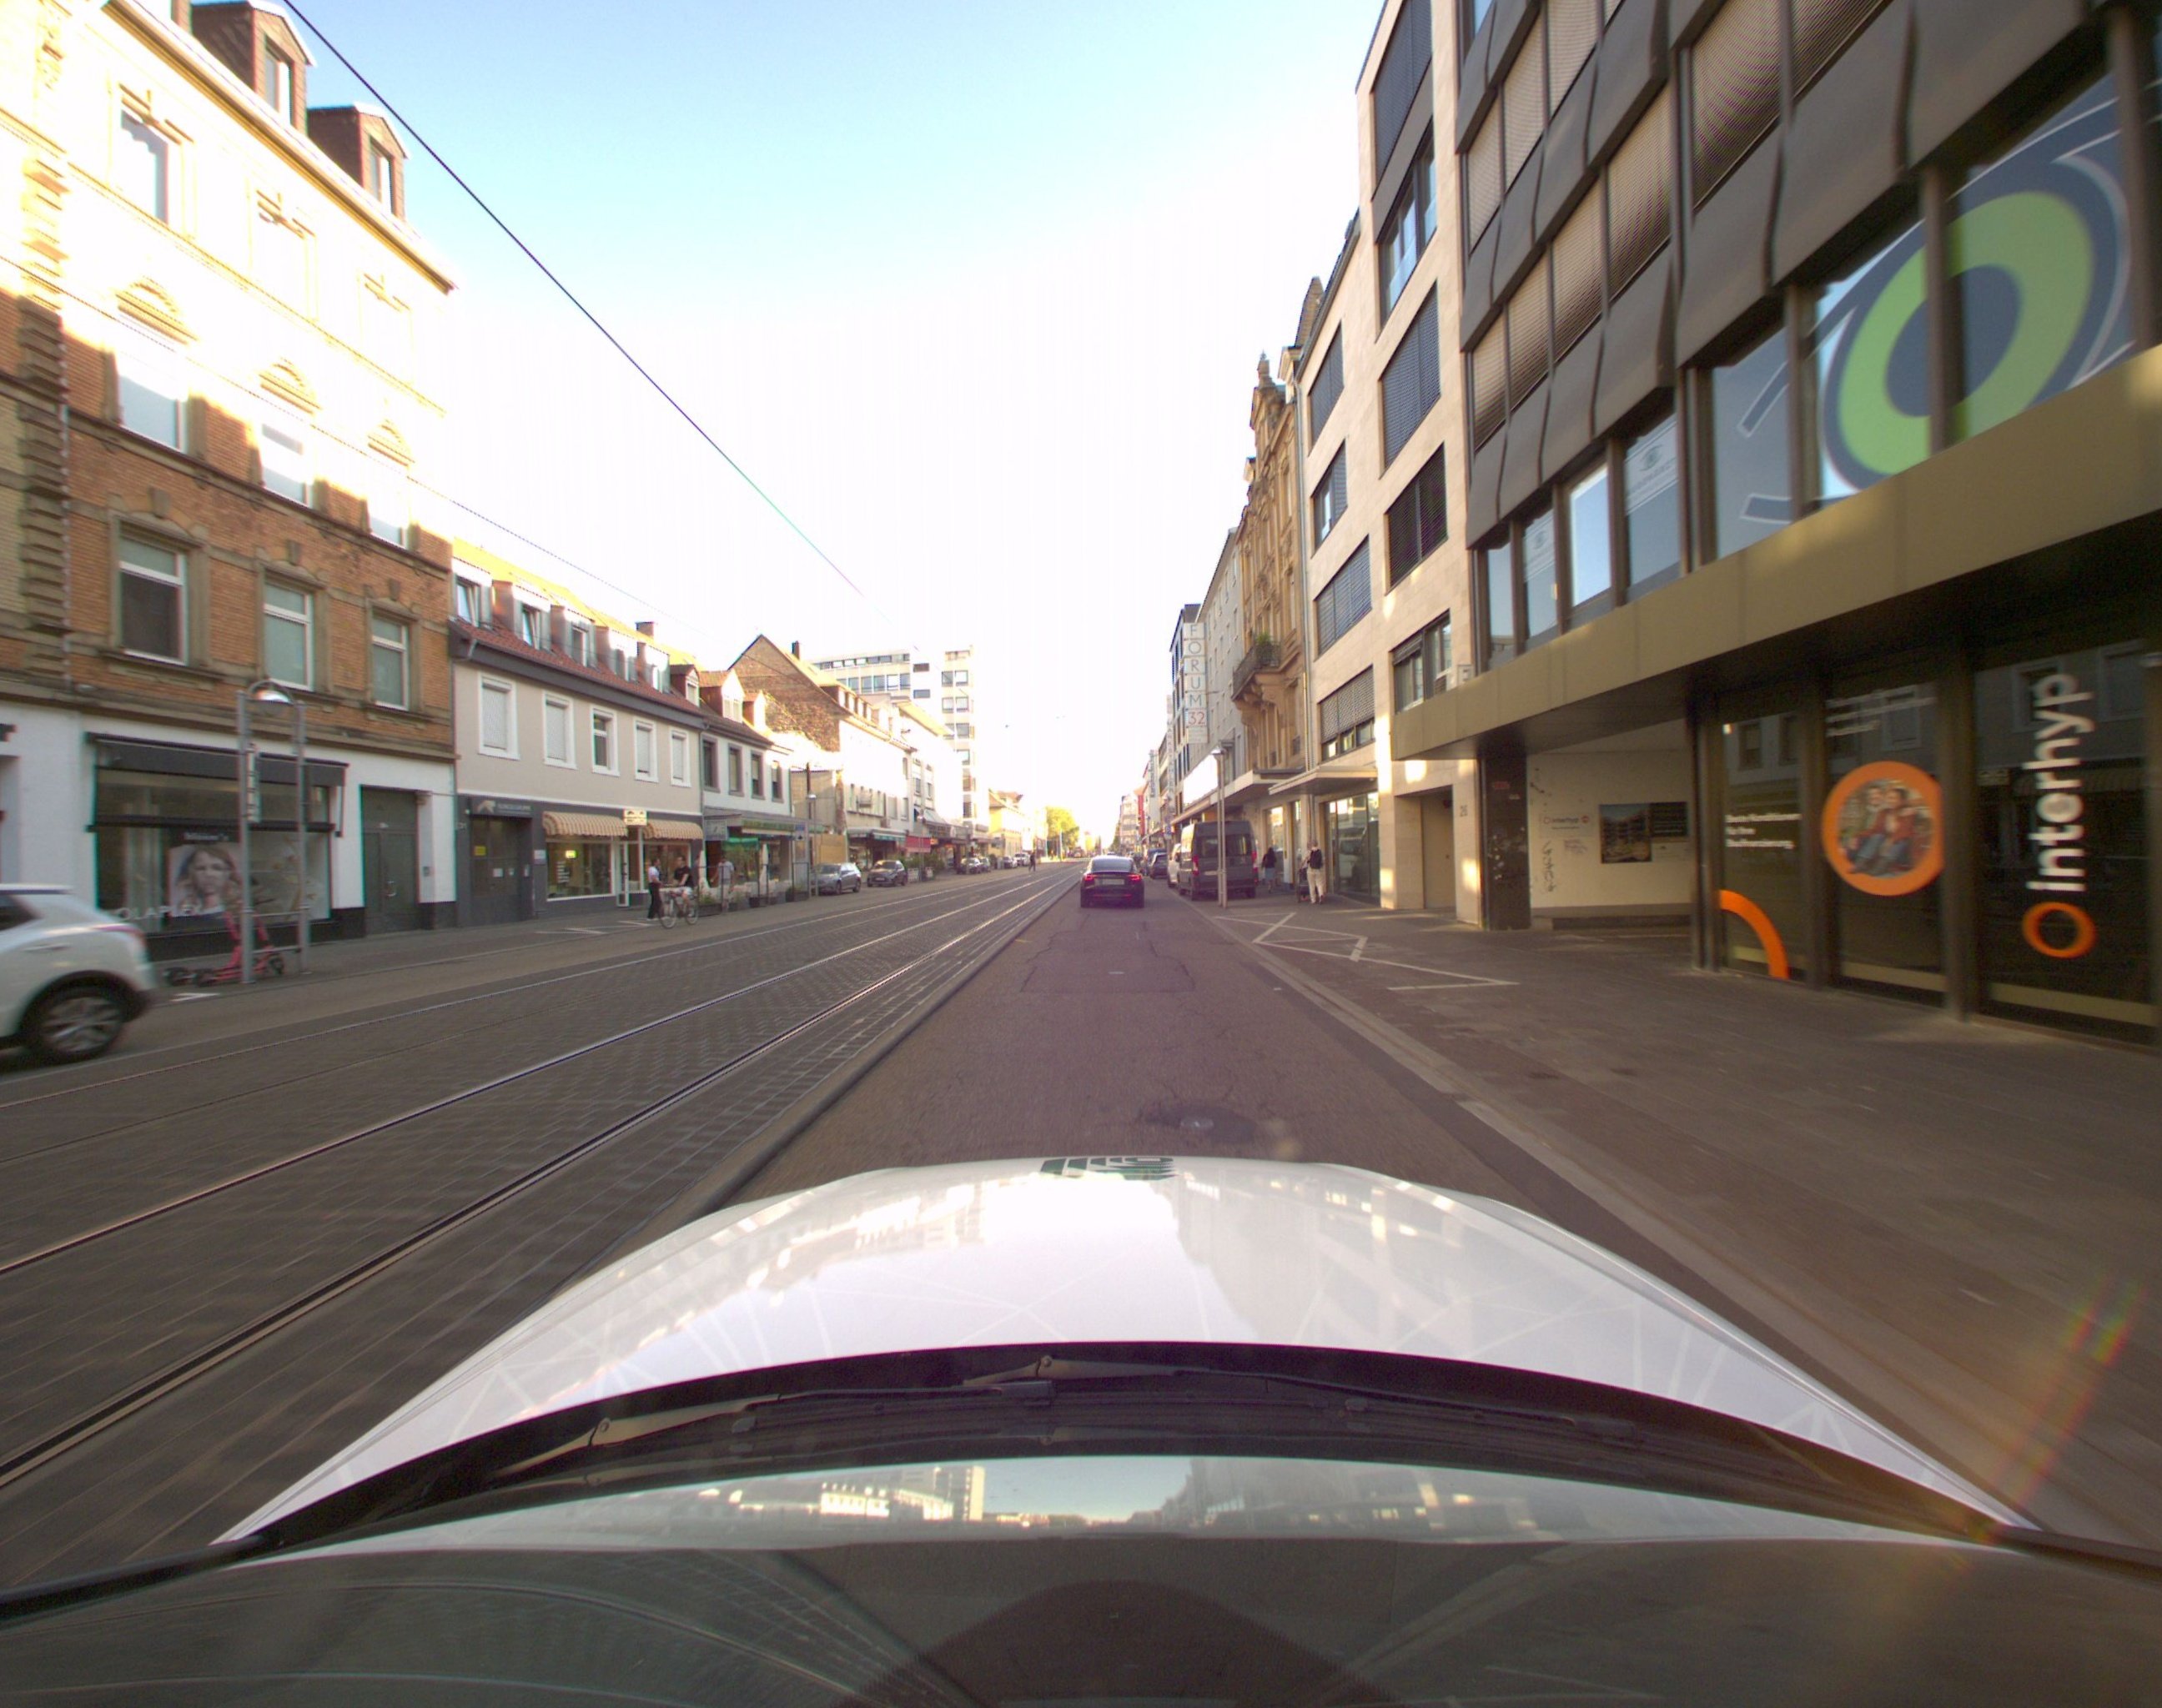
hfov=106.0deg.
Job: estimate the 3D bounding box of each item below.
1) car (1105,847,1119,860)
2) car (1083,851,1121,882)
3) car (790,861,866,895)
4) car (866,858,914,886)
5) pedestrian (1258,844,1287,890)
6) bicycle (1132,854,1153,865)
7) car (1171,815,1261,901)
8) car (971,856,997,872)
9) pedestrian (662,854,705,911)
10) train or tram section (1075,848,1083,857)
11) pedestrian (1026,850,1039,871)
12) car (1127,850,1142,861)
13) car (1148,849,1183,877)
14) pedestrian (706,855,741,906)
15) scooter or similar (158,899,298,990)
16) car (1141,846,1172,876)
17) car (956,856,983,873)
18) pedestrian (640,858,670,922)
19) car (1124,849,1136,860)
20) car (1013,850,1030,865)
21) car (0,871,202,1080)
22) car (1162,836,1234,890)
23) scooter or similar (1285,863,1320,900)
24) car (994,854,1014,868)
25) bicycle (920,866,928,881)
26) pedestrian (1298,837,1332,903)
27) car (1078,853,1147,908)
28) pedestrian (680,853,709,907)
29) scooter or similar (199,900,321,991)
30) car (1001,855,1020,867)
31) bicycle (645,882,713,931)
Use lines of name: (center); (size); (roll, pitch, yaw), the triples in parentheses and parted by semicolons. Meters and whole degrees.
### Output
car: (4.732, -0.064, 124.003); (2.077, 1.870, 3.756); (-1, 0, 2)
car: (1.017, 0.632, 40.683); (1.755, 1.418, 4.355); (-2, -1, 1)
car: (-11.795, 1.100, 38.360); (1.986, 1.532, 4.758); (0, -1, 1)
car: (-11.245, 1.056, 48.141); (1.668, 1.546, 3.747); (0, 0, 4)
pedestrian: (6.678, 0.457, 28.400); (0.766, 1.543, 0.804); (-4, 0, 2)
bicycle: (6.466, 0.618, 85.969); (2.153, 1.097, 0.686); (-2, 0, -1)
car: (4.390, 0.110, 27.394); (2.163, 2.461, 5.363); (-3, 0, 1)
car: (-9.764, 1.012, 82.390); (1.761, 1.508, 3.866); (-2, 0, 6)
pedestrian: (-10.377, 0.739, 21.284); (0.620, 1.444, 0.876); (-1, -1, 6)
train or tram section: (-0.534, -0.450, 260.149); (1.984, 2.634, 6.811); (-1, 0, 5)
pedestrian: (-4.515, 0.608, 76.111); (0.764, 1.849, 0.833); (-2, 0, 33)
car: (7.525, 0.206, 114.786); (1.986, 1.543, 4.002); (-1, -1, 2)
car: (4.912, 0.516, 47.766); (1.744, 1.499, 3.756); (-2, 0, 2)
pedestrian: (-12.770, 0.949, 29.124); (0.883, 1.775, 0.688); (-1, 0, 0)
scooter or similar: (-12.842, 1.333, 12.325); (0.577, 1.202, 1.476); (0, 0, -1)
car: (4.949, 0.449, 53.909); (1.814, 1.870, 3.756); (-1, 0, 2)
car: (-10.395, 0.971, 76.267); (1.762, 1.508, 3.867); (-2, 0, 3)
pedestrian: (-12.224, 1.011, 23.370); (0.618, 1.775, 0.711); (-1, 0, -37)
car: (8.582, 0.079, 143.281); (1.986, 1.753, 4.002); (-1, -1, 2)
car: (-8.654, 0.488, 118.955); (2.001, 1.961, 4.727); (-2, 0, 2)
car: (-9.428, 1.018, 5.634); (1.882, 1.594, 4.266); (-3, 0, 3)
car: (4.760, 0.345, 33.920); (2.152, 1.926, 4.616); (-5, 0, -1)
scooter or similar: (6.180, 0.752, 22.782); (0.591, 0.936, 1.298); (-4, 0, 0)
car: (-9.411, 0.864, 99.750); (1.710, 1.571, 3.854); (-2, 0, 4)
bicycle: (-10.599, 1.299, 55.030); (0.369, 1.002, 1.596); (-2, 0, -16)
pedestrian: (6.278, 0.419, 21.886); (0.554, 1.714, 0.955); (-4, 0, 1)
car: (0.961, 0.730, 24.616); (1.862, 1.427, 4.367); (-1, 0, 3)
pedestrian: (-13.456, 0.901, 28.373); (0.655, 1.823, 0.642); (-1, 0, -4)
scooter or similar: (-12.357, 1.339, 12.317); (0.363, 1.202, 1.476); (0, 0, -1)
car: (-9.071, 0.890, 105.574); (1.762, 1.508, 3.976); (-2, 0, 4)
bicycle: (-10.381, 1.327, 21.096); (0.575, 1.115, 1.956); (-2, 0, 7)
